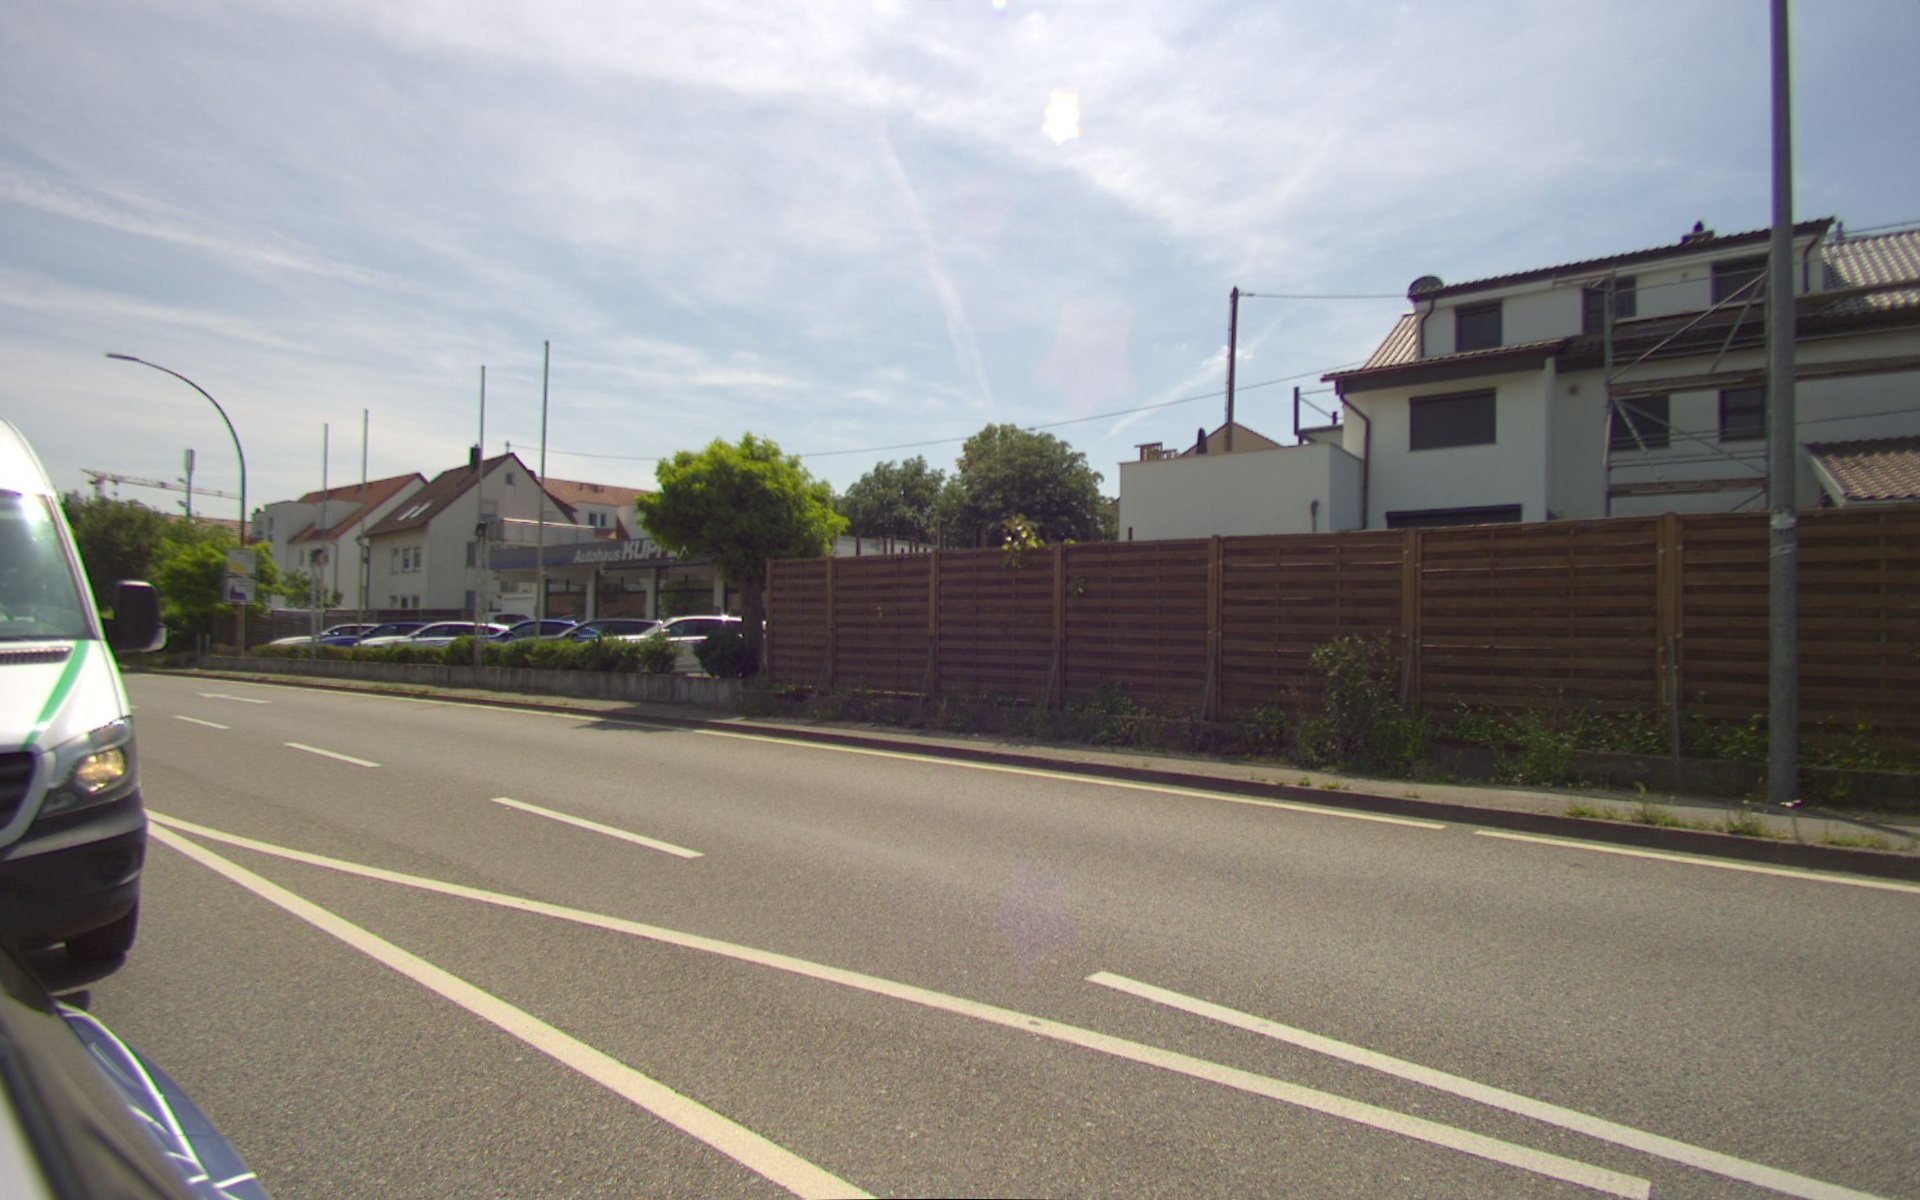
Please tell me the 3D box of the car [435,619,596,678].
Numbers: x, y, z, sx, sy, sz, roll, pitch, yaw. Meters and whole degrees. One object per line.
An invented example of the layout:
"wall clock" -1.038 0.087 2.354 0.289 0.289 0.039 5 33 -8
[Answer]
"car" -12.176 1.291 27.814 3.930 1.453 1.860 -1 -1 -25

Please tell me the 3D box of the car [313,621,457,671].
"car" -18.778 1.486 33.271 3.930 1.475 2.006 -1 -1 -24

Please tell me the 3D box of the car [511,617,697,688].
"car" -8.940 1.264 25.436 4.187 1.557 1.856 -1 -1 -27

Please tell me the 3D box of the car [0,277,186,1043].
"car" -5.734 0.268 4.901 5.628 2.619 1.953 -2 -1 40

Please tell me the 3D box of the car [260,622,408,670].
"car" -21.980 1.587 35.751 4.192 1.541 2.006 -1 -1 -24

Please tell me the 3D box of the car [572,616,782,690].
"car" -6.352 1.133 22.754 4.264 1.471 1.861 0 -1 -26

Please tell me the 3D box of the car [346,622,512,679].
"car" -15.763 1.464 30.317 4.238 1.530 2.006 -1 -1 -23
